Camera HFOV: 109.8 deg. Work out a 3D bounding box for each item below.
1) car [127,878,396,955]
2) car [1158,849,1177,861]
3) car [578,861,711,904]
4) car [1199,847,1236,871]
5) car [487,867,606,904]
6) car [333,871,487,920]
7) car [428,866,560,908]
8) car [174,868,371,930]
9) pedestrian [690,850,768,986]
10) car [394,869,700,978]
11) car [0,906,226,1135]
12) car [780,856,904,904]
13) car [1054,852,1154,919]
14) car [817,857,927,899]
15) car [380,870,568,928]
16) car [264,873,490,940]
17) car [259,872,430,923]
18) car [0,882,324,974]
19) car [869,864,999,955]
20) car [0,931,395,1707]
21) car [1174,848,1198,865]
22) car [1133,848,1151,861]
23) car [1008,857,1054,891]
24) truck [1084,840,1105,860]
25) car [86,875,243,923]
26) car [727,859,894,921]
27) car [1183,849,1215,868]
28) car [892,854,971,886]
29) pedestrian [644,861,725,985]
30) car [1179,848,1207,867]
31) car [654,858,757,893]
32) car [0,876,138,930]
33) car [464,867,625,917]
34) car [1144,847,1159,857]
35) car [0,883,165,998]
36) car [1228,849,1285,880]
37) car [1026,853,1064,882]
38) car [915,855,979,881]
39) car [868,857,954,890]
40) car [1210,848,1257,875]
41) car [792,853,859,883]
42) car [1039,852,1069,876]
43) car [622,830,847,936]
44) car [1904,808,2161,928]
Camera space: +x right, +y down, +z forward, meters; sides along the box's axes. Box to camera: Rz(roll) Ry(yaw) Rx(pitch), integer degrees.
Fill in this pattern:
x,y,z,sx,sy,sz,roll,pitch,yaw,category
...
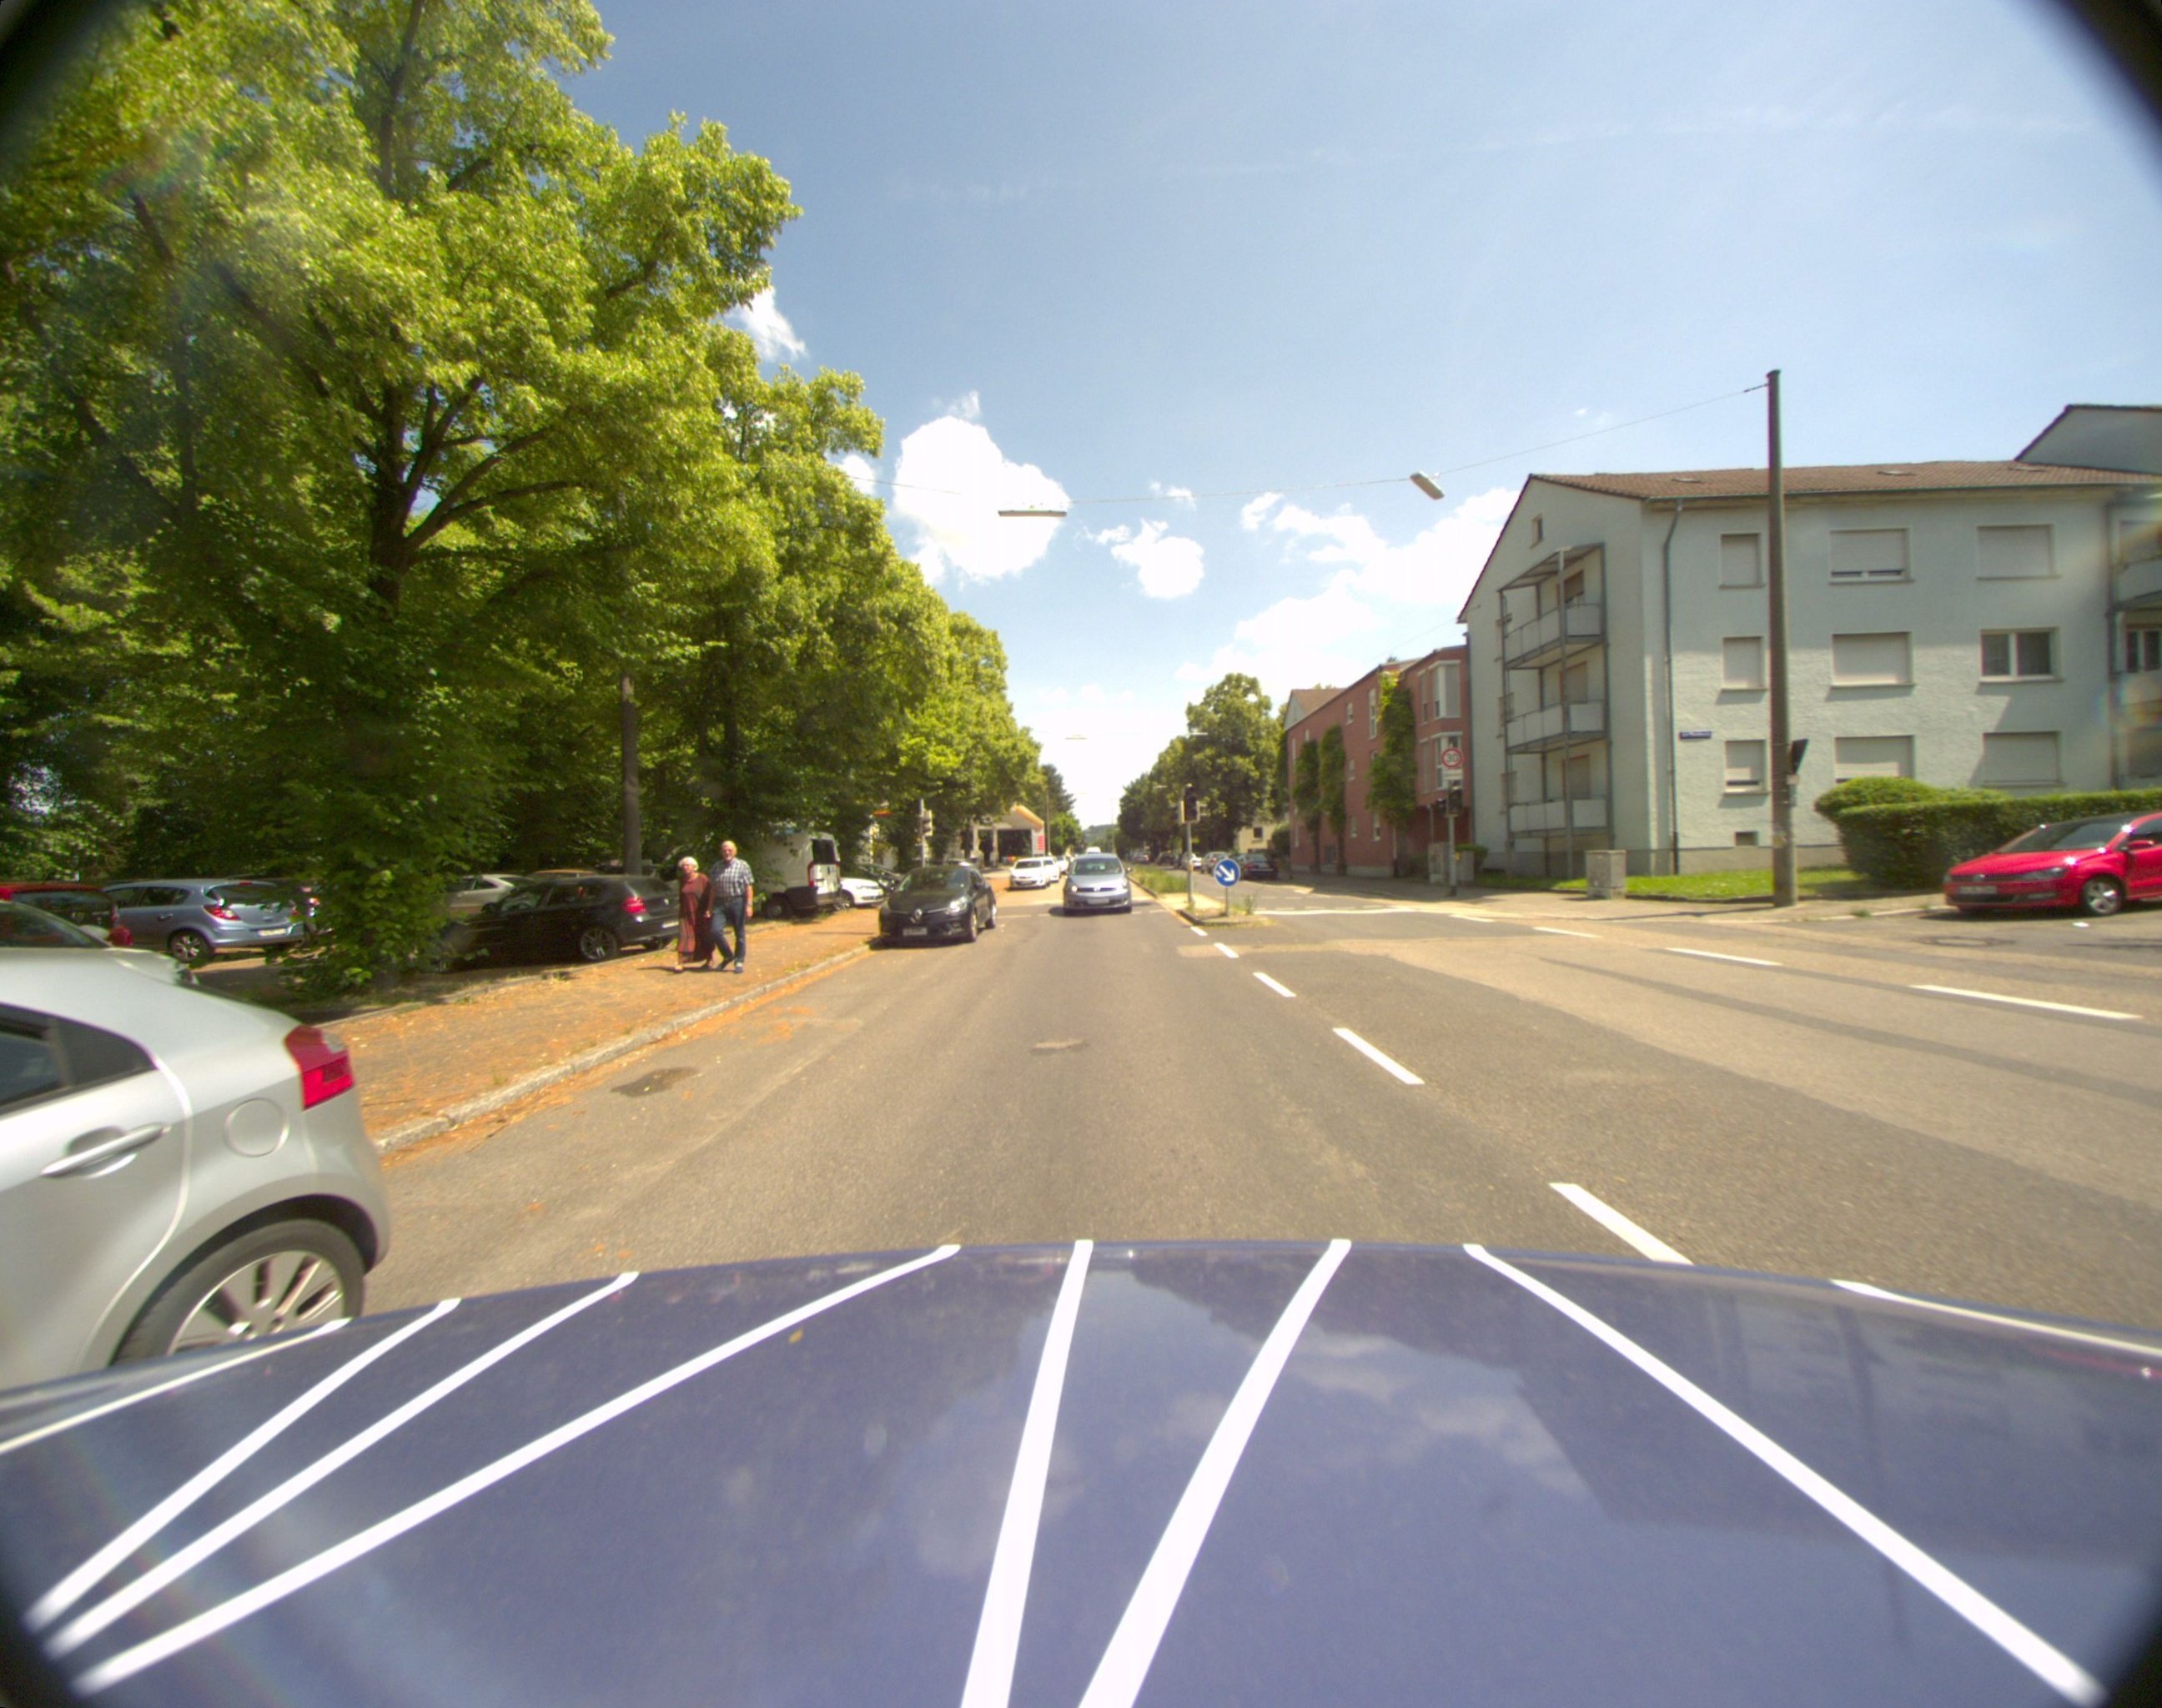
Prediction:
x,y,z,sx,sy,sz,roll,pitch,yaw,category
-17.803,1.326,16.642,3.996,1.464,1.804,-1,1,2,car
10.204,0.087,89.563,1.757,1.325,3.607,-3,1,-1,car
-17.588,1.123,30.742,4.263,1.578,1.818,-1,1,-1,car
9.503,0.305,53.181,1.752,1.499,3.999,-3,1,-1,car
-22.639,1.314,32.263,3.806,1.456,1.738,-1,1,3,car
-23.066,1.407,26.222,3.806,1.483,1.738,-2,1,3,car
-22.829,1.265,29.635,3.806,1.456,1.738,-1,1,3,car
-22.873,1.250,21.585,3.806,1.579,1.738,-1,1,3,car
-4.767,0.844,10.324,0.618,1.754,0.737,-3,1,0,pedestrian
-9.033,1.146,13.075,3.996,1.464,1.717,-4,1,2,car
-9.159,1.194,5.533,3.996,1.420,1.668,-1,1,1,car
-9.020,0.969,28.872,4.078,1.485,1.636,-4,1,-1,car
0.726,0.746,20.018,1.745,1.513,4.227,-2,1,14,car
-8.653,0.970,31.734,4.078,1.485,1.636,-3,1,-1,car
-17.427,1.264,21.951,3.996,1.464,1.804,-1,1,2,car
-17.461,1.284,18.980,3.996,1.464,1.804,-1,1,2,car
-23.257,1.349,24.077,3.806,1.456,1.738,-1,1,3,car
-17.127,1.341,14.286,3.996,1.464,1.804,-1,1,2,car
-2.759,0.986,15.129,1.667,1.420,4.000,-2,0,1,car
-3.123,1.043,0.453,1.771,1.476,3.890,-3,1,1,car
9.916,0.205,71.792,1.572,1.499,3.999,-3,1,-1,car
7.401,0.077,92.471,1.752,1.499,3.999,-3,1,-1,car
-2.376,0.934,36.852,1.721,1.434,4.111,-3,0,2,car
1.580,-0.443,87.545,1.866,2.211,4.506,-3,0,6,truck
-33.290,1.610,27.668,3.806,1.558,1.738,-2,1,5,car
-8.131,1.053,23.113,4.336,1.485,1.808,-4,1,-1,car
9.307,0.332,60.114,1.752,1.434,3.999,-3,0,-1,car
-8.007,0.844,40.748,3.763,1.527,1.631,-3,1,12,car
-5.368,0.910,10.329,0.618,1.584,0.737,-3,1,0,pedestrian
9.795,0.267,66.627,1.752,1.499,3.999,-3,1,-1,car
-17.813,1.018,36.189,3.956,1.513,1.737,-1,1,-4,car
-33.470,1.582,24.641,3.806,1.558,1.738,-2,1,5,car
-17.488,1.222,24.901,3.996,1.464,1.804,-1,1,2,car
10.394,-0.291,111.486,1.757,1.325,3.607,-3,1,-1,car
-17.492,1.320,11.974,3.996,1.577,1.804,-1,1,2,car
9.312,0.513,40.701,1.891,1.531,4.567,-2,0,-1,car
-2.062,0.742,44.385,1.867,1.516,4.208,-3,0,1,car
-8.573,0.885,48.816,3.762,1.518,1.853,-2,1,-3,car
-8.188,0.937,36.849,3.848,1.350,1.628,-3,1,-8,car
9.355,0.411,47.060,1.891,1.531,4.567,-2,0,-1,car
-16.831,0.883,50.194,3.808,1.840,1.932,-1,1,-3,car
-1.781,0.633,51.048,1.775,1.434,3.338,-3,0,1,car
-8.692,0.705,19.378,4.614,2.263,2.106,-4,1,1,car
15.762,0.159,11.793,3.997,1.443,1.733,-6,-1,-1,car
